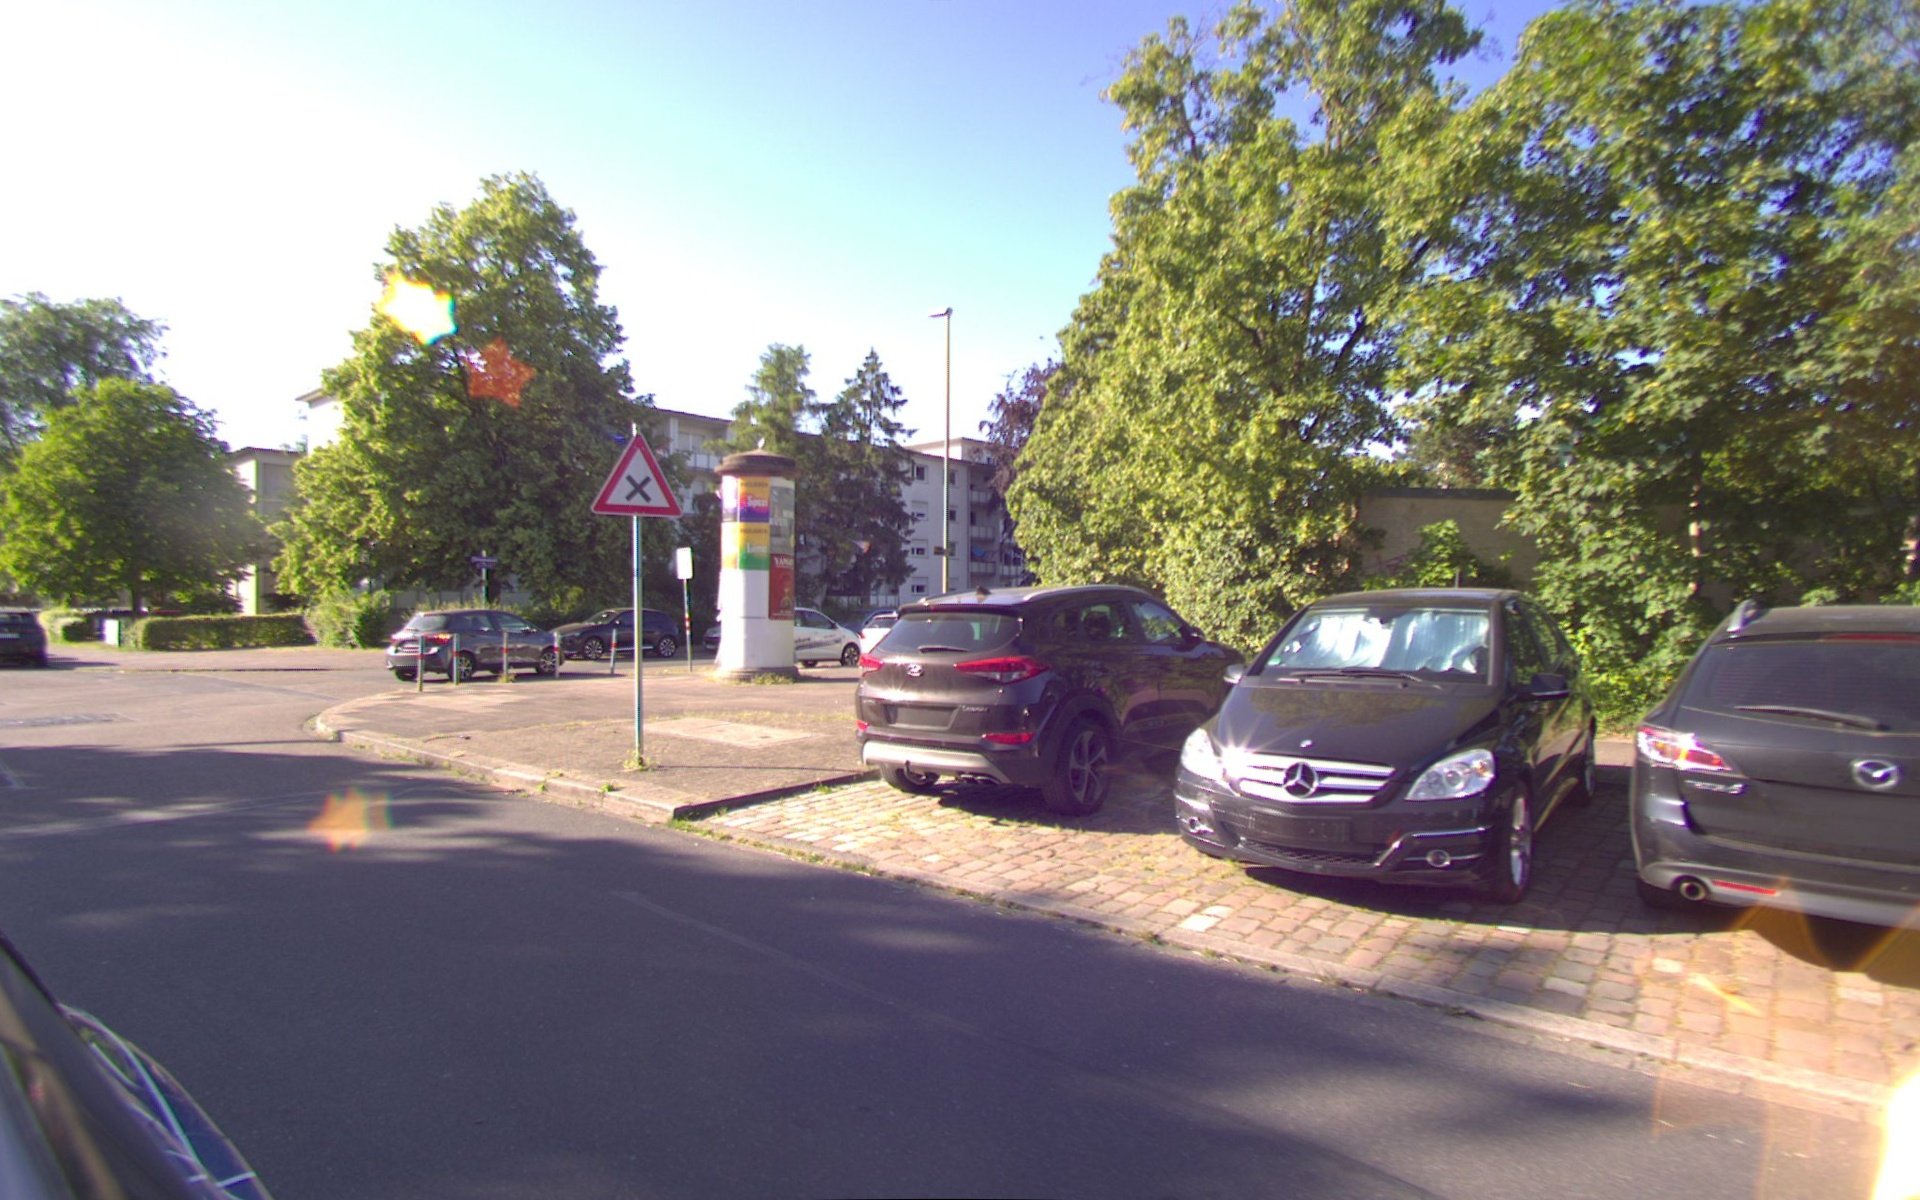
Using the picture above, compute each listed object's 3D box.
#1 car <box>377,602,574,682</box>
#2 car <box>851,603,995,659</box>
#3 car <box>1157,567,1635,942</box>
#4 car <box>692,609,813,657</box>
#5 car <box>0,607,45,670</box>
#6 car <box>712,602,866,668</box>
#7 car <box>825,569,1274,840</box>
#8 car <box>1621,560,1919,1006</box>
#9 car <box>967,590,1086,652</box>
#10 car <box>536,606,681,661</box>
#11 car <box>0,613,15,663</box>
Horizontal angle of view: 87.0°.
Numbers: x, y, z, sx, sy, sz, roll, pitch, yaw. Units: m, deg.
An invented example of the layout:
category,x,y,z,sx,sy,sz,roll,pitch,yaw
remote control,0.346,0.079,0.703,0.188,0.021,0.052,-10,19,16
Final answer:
category,x,y,z,sx,sy,sz,roll,pitch,yaw
car,-10.456,0.866,22.162,1.640,1.567,3.980,1,-1,17
car,-0.969,0.868,28.760,1.736,1.473,4.289,0,-1,38
car,2.990,0.600,6.387,1.829,1.544,3.949,0,2,38
car,-7.099,1.106,34.919,1.744,1.554,3.877,0,-1,38
car,-25.755,0.996,26.757,4.421,1.586,1.762,-1,-1,40
car,-4.132,0.834,24.836,1.736,1.473,3.485,0,-1,38
car,0.999,0.604,8.581,1.844,1.668,4.147,0,2,38
car,4.589,0.578,5.067,1.810,1.524,4.053,0,2,38
car,2.234,0.687,32.888,1.736,1.869,4.289,0,-1,38
car,-10.740,1.005,31.105,1.744,1.554,3.877,0,-1,38
car,-29.698,1.105,30.288,3.651,1.448,1.607,-1,-3,40
